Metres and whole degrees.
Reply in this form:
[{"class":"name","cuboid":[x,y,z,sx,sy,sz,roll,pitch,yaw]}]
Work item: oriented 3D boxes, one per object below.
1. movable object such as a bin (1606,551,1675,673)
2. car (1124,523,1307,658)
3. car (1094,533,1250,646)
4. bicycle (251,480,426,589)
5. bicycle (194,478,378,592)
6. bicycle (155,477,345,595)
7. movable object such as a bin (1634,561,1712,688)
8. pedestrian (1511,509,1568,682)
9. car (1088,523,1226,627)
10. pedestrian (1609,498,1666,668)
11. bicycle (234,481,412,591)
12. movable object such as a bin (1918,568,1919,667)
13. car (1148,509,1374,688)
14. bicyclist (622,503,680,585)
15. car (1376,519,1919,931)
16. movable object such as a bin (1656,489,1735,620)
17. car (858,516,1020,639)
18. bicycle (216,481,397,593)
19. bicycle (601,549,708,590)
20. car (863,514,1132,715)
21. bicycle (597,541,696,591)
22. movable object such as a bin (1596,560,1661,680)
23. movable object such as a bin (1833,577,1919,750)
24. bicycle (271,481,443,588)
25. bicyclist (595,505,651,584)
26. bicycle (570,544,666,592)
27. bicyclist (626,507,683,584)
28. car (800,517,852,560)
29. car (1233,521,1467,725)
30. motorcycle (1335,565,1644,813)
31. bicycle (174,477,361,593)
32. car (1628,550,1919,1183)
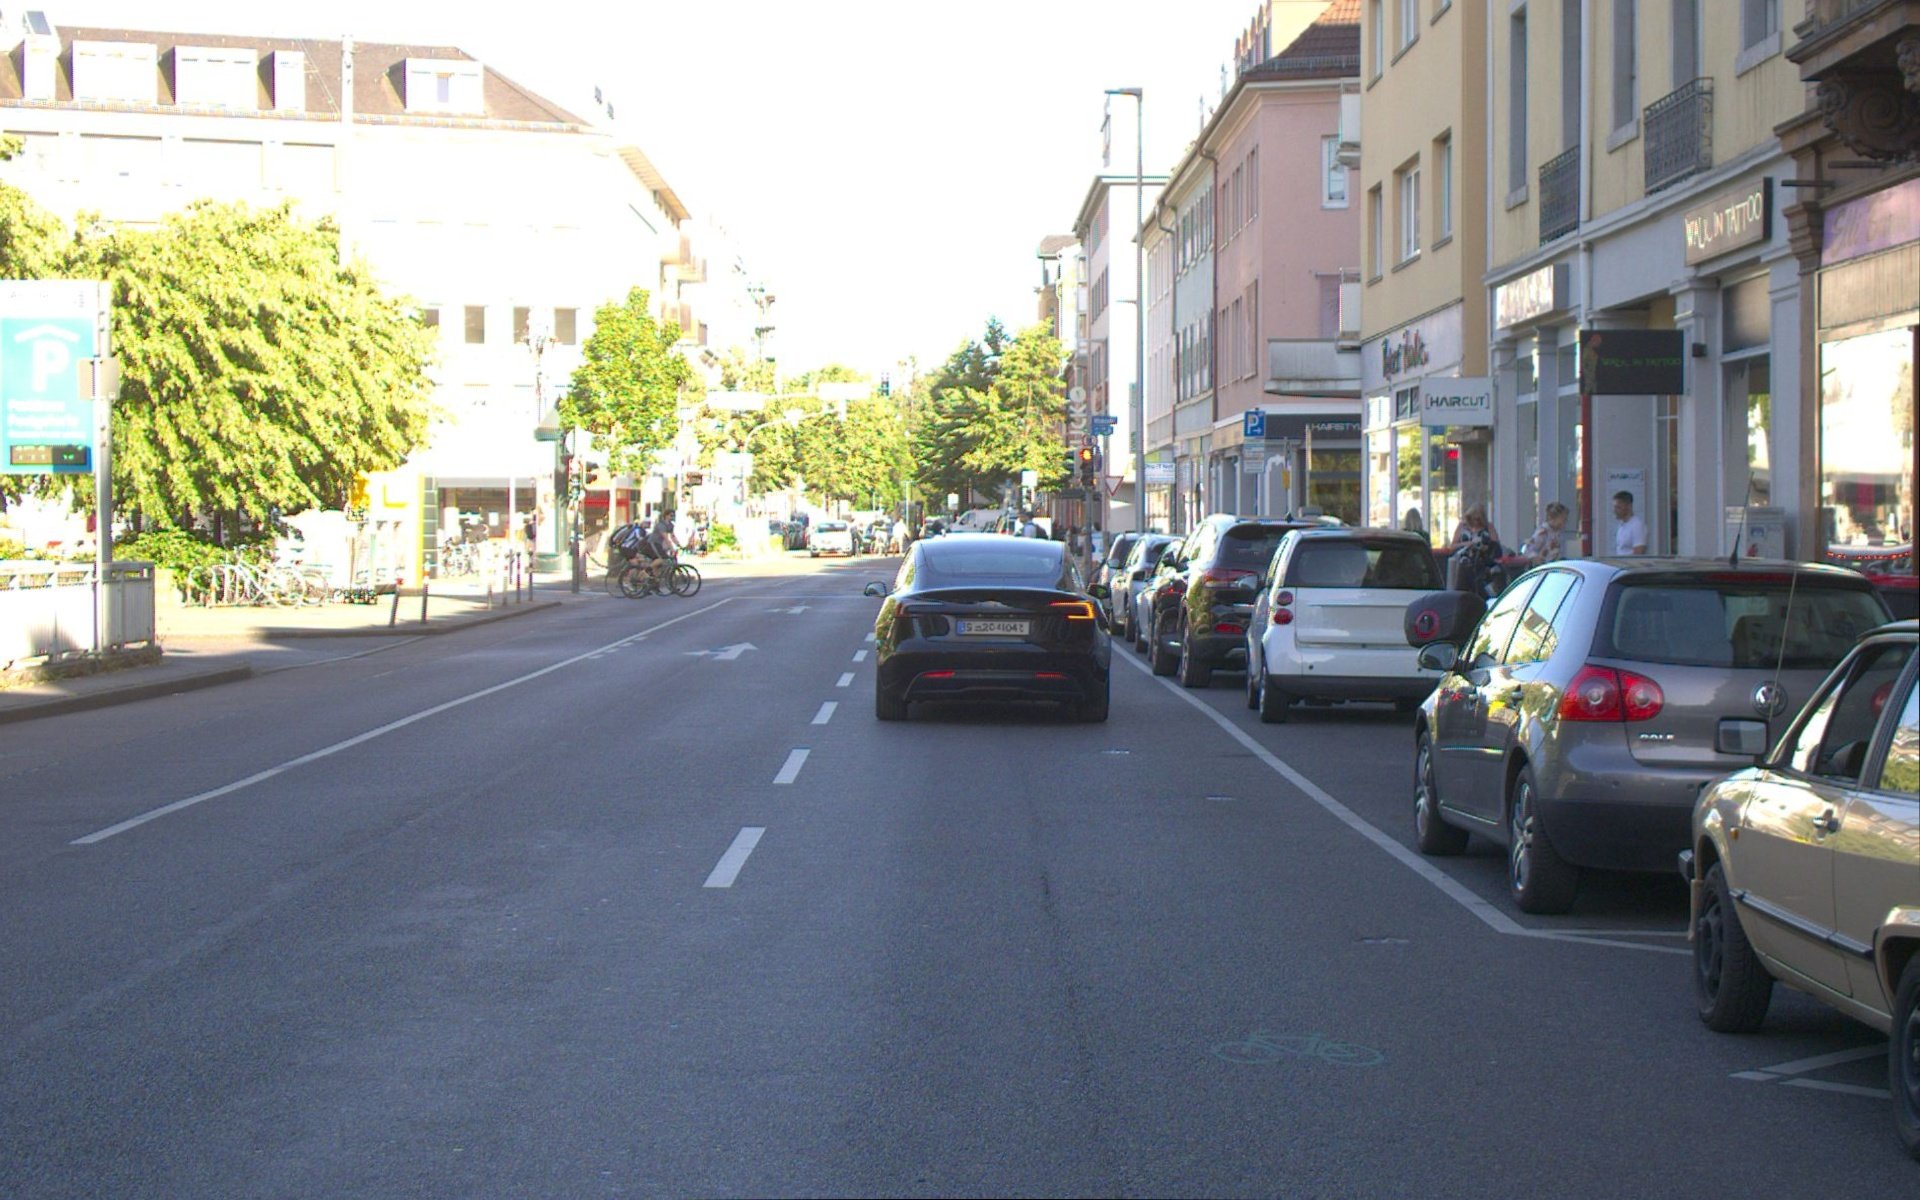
[{"class":"movable object such as a bin","cuboid":[6.009,0.102,30.360,0.478,1.048,0.468,-2,1,-1]},{"class":"car","cuboid":[2.938,-0.113,40.240,1.792,1.455,4.084,1,0,0]},{"class":"car","cuboid":[2.875,-0.151,47.318,1.792,1.455,3.868,1,0,-1]},{"class":"bicycle","cuboid":[-11.733,-1.244,64.968,3.122,2.007,0.908,1,1,9]},{"class":"bicycle","cuboid":[-12.108,-1.170,61.804,3.122,2.007,0.908,1,1,9]},{"class":"bicycle","cuboid":[-12.359,-1.122,59.858,3.122,2.007,0.908,1,1,9]},{"class":"movable object such as a bin","cuboid":[6.042,0.201,29.159,0.495,1.048,0.632,-2,1,-1]},{"class":"pedestrian","cuboid":[5.541,-0.048,32.873,0.471,1.630,0.513,1,1,16]},{"class":"car","cuboid":[2.909,-0.363,51.386,1.792,1.455,3.868,1,0,0]},{"class":"pedestrian","cuboid":[6.538,-0.168,33.199,0.470,1.630,0.513,1,1,5]},{"class":"bicycle","cuboid":[-11.844,-1.192,63.932,3.122,2.007,0.908,1,1,9]},{"class":"movable object such as a bin","cuboid":[6.135,0.328,20.490,0.644,1.048,0.632,-2,1,-1]},{"class":"car","cuboid":[2.923,-0.020,34.149,1.716,1.630,4.085,1,0,-2]},{"class":"bicyclist","cuboid":[-6.354,-1.157,70.742,1.146,1.680,0.919,0,1,-3]},{"class":"car","cuboid":[3.089,0.438,15.410,1.839,1.541,4.229,1,2,-1]},{"class":"movable object such as a bin","cuboid":[6.044,-0.378,28.267,0.478,1.048,0.632,-2,1,-1]},{"class":"car","cuboid":[-0.221,-0.323,44.196,1.935,1.482,4.271,0,1,2]},{"class":"bicycle","cuboid":[-11.943,-1.159,62.849,3.122,2.007,0.908,1,1,9]},{"class":"bicycle","cuboid":[-6.722,-0.682,75.719,2.244,0.880,0.923,0,1,4]},{"class":"car","cuboid":[0.231,0.099,28.172,1.995,1.475,4.495,1,0,-1]},{"class":"bicycle","cuboid":[-6.442,-0.700,70.769,2.011,1.018,0.888,0,1,-3]},{"class":"movable object such as a bin","cuboid":[6.005,0.177,30.900,0.455,1.048,0.500,-2,1,-1]},{"class":"movable object such as a bin","cuboid":[6.094,0.402,22.279,0.644,1.072,0.819,-2,1,1]},{"class":"bicycle","cuboid":[-11.578,-1.263,66.010,3.122,2.007,0.908,1,1,9]},{"class":"bicyclist","cuboid":[-7.173,-1.179,73.260,1.146,1.680,0.819,0,1,-3]},{"class":"bicycle","cuboid":[-7.283,-0.680,73.261,2.011,1.018,0.762,0,1,-3]},{"class":"bicyclist","cuboid":[-6.725,-1.200,75.718,1.146,1.680,0.915,0,1,3]},{"class":"car","cuboid":[-5.818,-2.682,149.300,1.993,1.765,4.000,1,2,1]},{"class":"car","cuboid":[3.162,0.147,28.320,1.613,1.541,2.855,1,2,1]},{"class":"motorcycle","cuboid":[3.028,0.469,19.520,0.656,1.323,2.039,1,1,44]},{"class":"bicycle","cuboid":[-12.246,-1.152,60.813,3.122,2.007,0.908,1,1,9]},{"class":"car","cuboid":[3.077,0.624,9.676,1.608,1.444,3.830,1,2,0]}]
